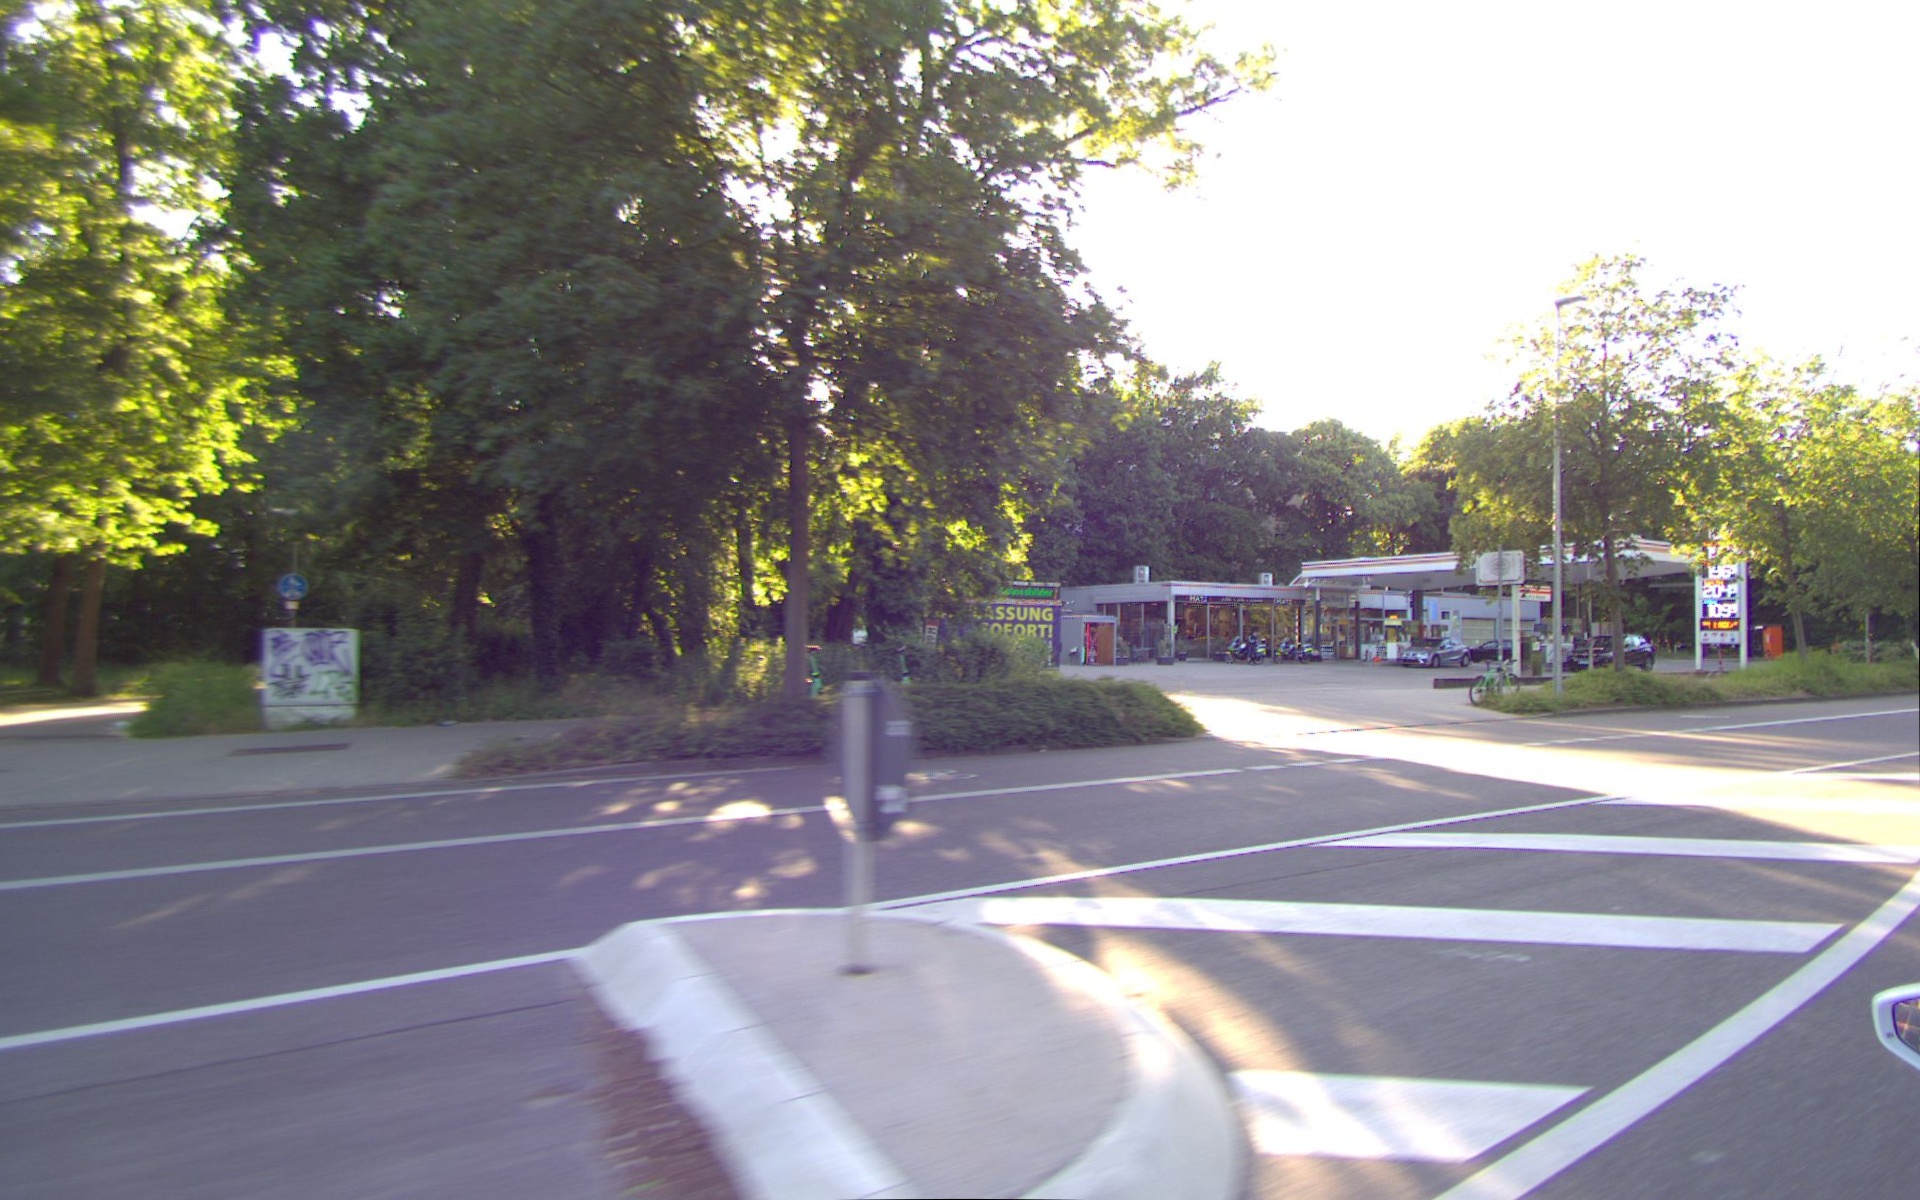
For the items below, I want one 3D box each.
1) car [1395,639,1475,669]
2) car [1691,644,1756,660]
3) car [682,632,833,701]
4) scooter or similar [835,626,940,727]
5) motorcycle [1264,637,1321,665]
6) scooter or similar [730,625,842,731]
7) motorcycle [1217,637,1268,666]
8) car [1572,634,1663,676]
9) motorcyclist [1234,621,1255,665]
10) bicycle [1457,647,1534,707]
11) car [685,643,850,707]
[{"bbox_3d":[23.481,2.642,49.647,4.014,1.394,1.702,2,-3,-32],"label":"car"},{"bbox_3d":[69.147,4.711,91.047,4.325,1.332,2.001,0,-2,2],"label":"car"},{"bbox_3d":[-5.026,1.639,25.171,3.421,1.672,1.563,0,-2,1],"label":"car"},{"bbox_3d":[-1.312,1.360,18.229,1.720,1.739,0.824,1,-2,-30],"label":"scooter or similar"},{"bbox_3d":[17.823,2.704,53.846,2.693,1.470,1.134,0,-2,-4],"label":"motorcycle"},{"bbox_3d":[-2.990,1.307,17.299,1.720,1.739,0.824,1,-2,-30],"label":"scooter or similar"},{"bbox_3d":[14.579,2.668,51.881,2.455,1.470,1.135,0,-2,14],"label":"motorcycle"},{"bbox_3d":[28.084,2.314,42.857,4.409,1.713,1.700,2,-3,-35],"label":"car"},{"bbox_3d":[14.696,2.218,51.870,0.996,2.211,1.125,0,-2,14],"label":"motorcyclist"},{"bbox_3d":[11.971,1.697,22.435,2.138,1.266,0.650,2,-2,-36],"label":"bicycle"},{"bbox_3d":[-4.350,1.717,23.041,3.421,1.418,1.564,0,-4,1],"label":"car"}]
